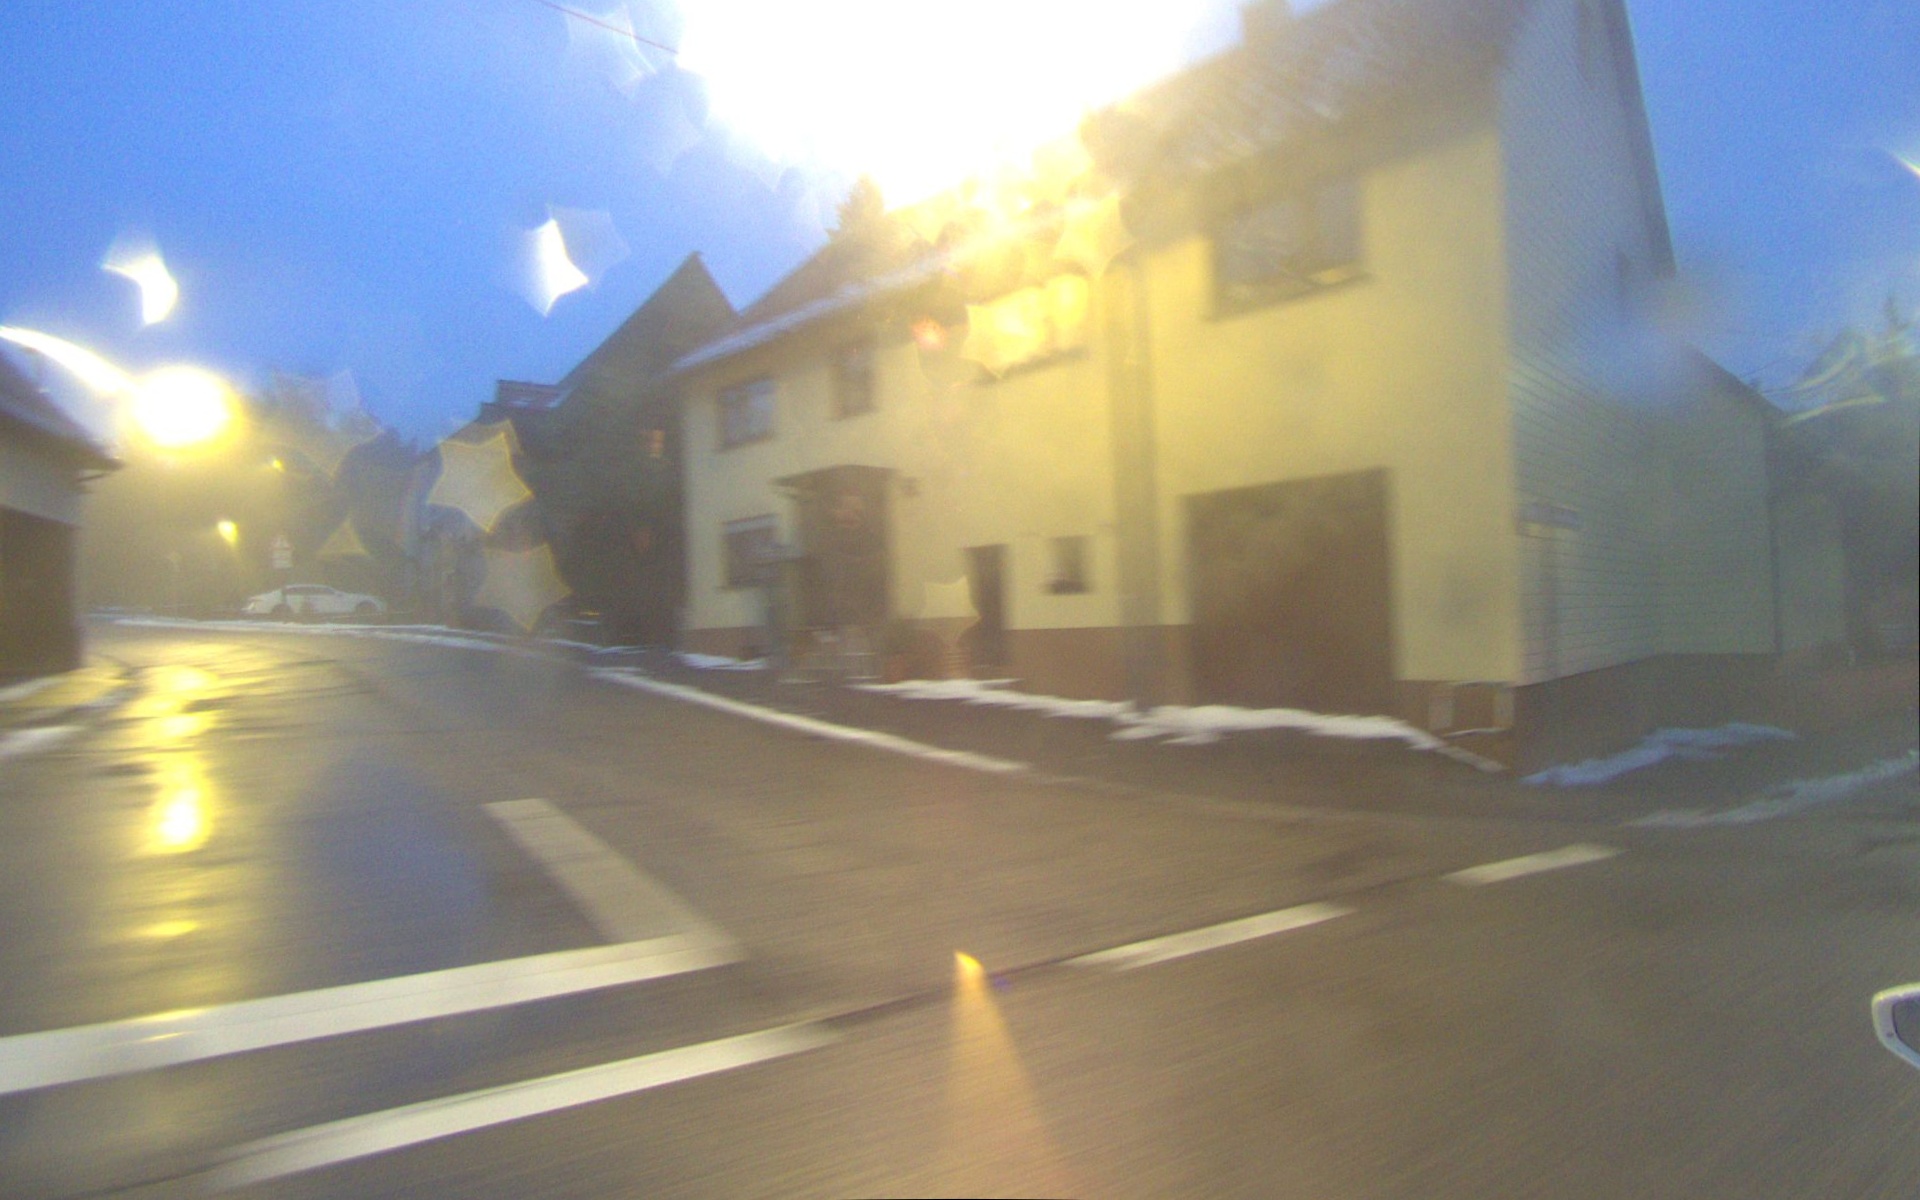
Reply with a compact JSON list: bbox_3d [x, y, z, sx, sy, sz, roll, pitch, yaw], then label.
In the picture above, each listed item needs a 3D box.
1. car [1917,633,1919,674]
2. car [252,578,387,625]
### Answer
[{"bbox_3d":[30.249,1.374,30.249,4.607,1.760,1.747,1,2,-43],"label":"car"},{"bbox_3d":[-26.944,0.027,42.322,4.629,1.829,1.978,-2,2,-38],"label":"car"}]
